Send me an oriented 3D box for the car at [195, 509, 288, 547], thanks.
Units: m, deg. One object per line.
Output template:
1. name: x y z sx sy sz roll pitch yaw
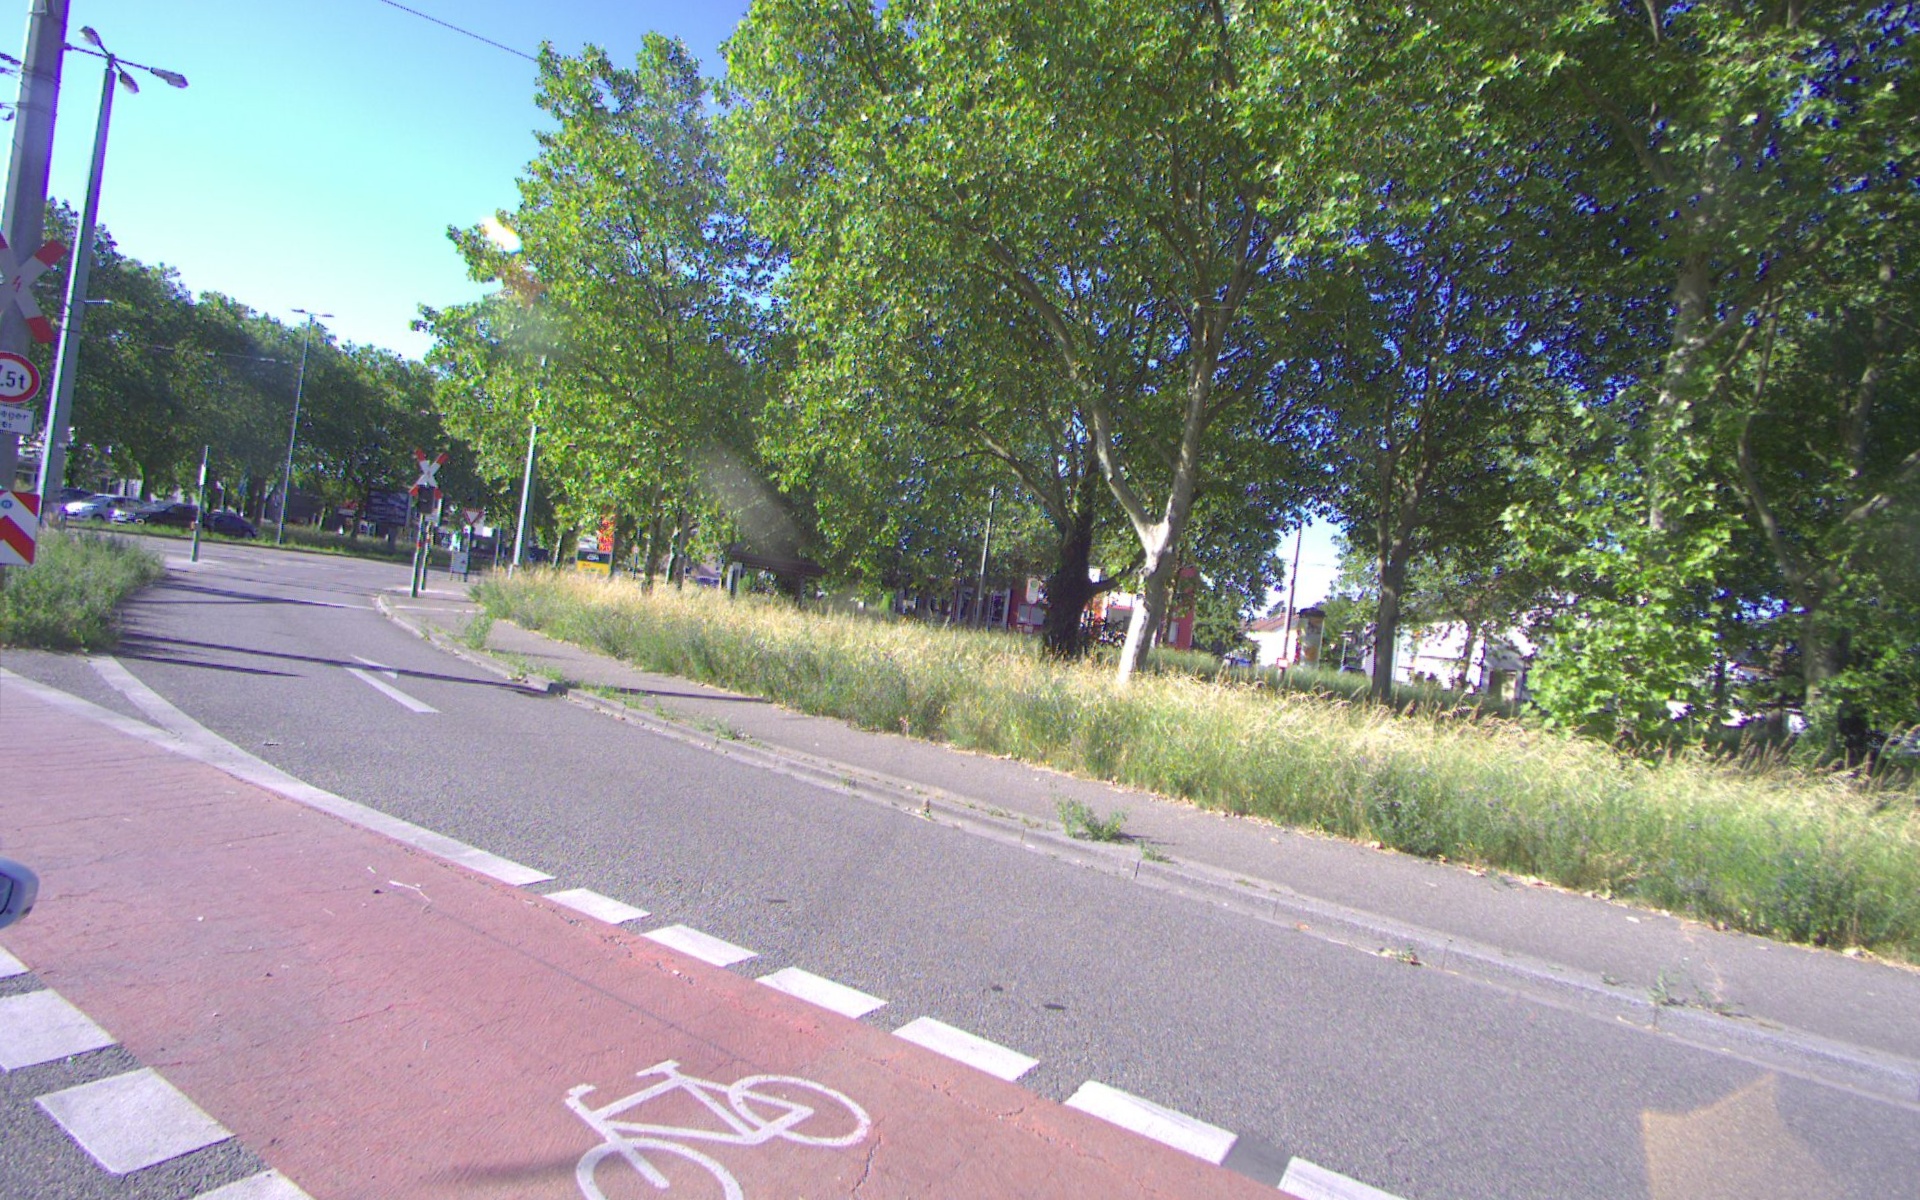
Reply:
1. car: -42.294 -4.229 59.340 1.661 1.593 4.528 7 -1 9

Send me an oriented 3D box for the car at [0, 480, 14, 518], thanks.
1. car: -41.038 -4.373 40.567 1.575 1.549 4.002 7 0 9

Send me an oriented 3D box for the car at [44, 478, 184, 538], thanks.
1. car: -40.464 -4.340 48.291 1.962 2.038 4.907 7 -1 9

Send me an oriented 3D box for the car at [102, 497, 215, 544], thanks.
1. car: -37.091 -3.657 46.675 1.562 1.563 3.986 7 -1 9
